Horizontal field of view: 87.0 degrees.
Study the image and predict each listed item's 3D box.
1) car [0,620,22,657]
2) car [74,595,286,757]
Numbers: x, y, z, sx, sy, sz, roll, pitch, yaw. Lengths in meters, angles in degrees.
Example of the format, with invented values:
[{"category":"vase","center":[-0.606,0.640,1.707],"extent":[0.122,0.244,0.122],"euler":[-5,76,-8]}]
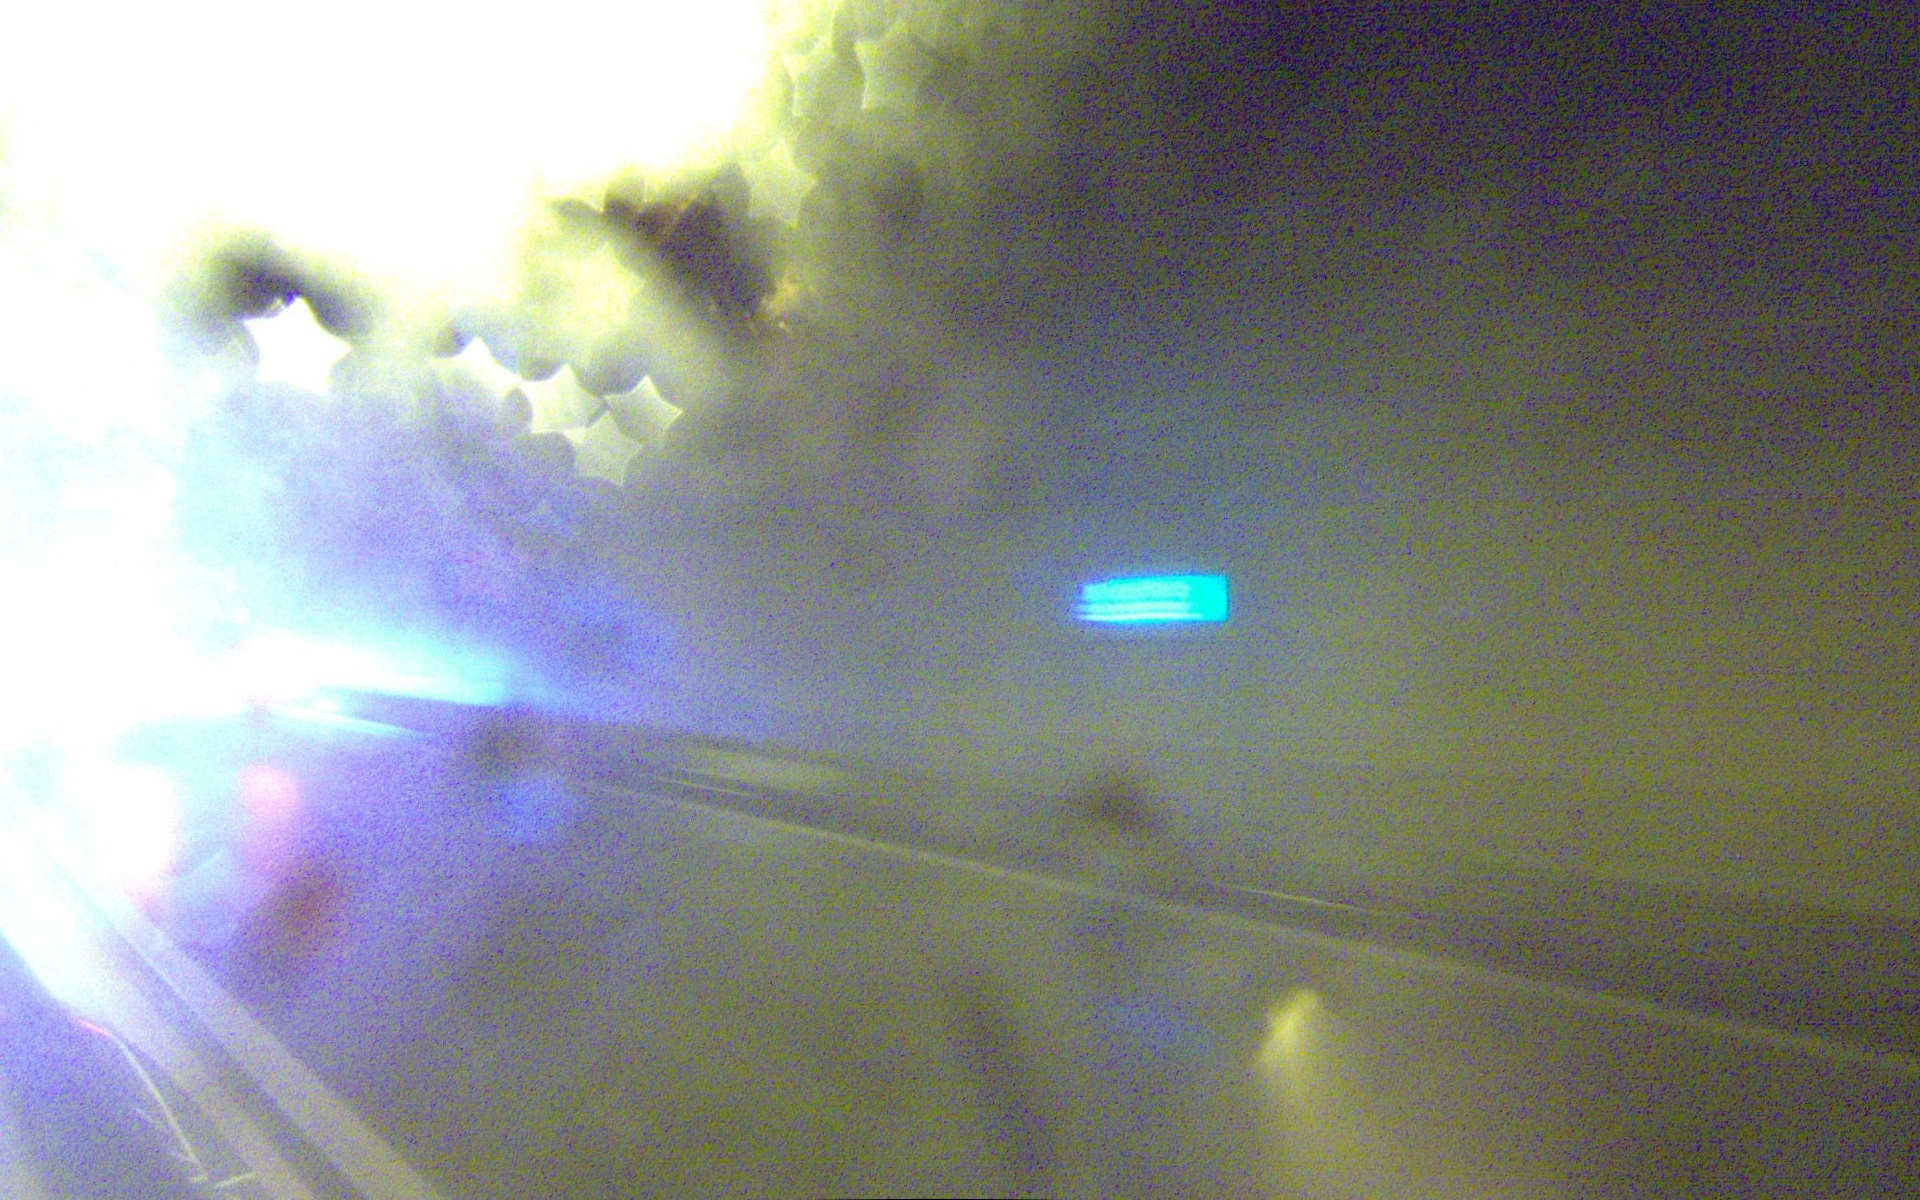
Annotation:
[{"category":"car","center":[-40.978,1.635,42.668],"extent":[3.836,1.504,1.639],"euler":[-1,2,41]},{"category":"car","center":[-9.632,0.812,12.391],"extent":[1.612,1.662,3.778],"euler":[-1,0,-44]}]
